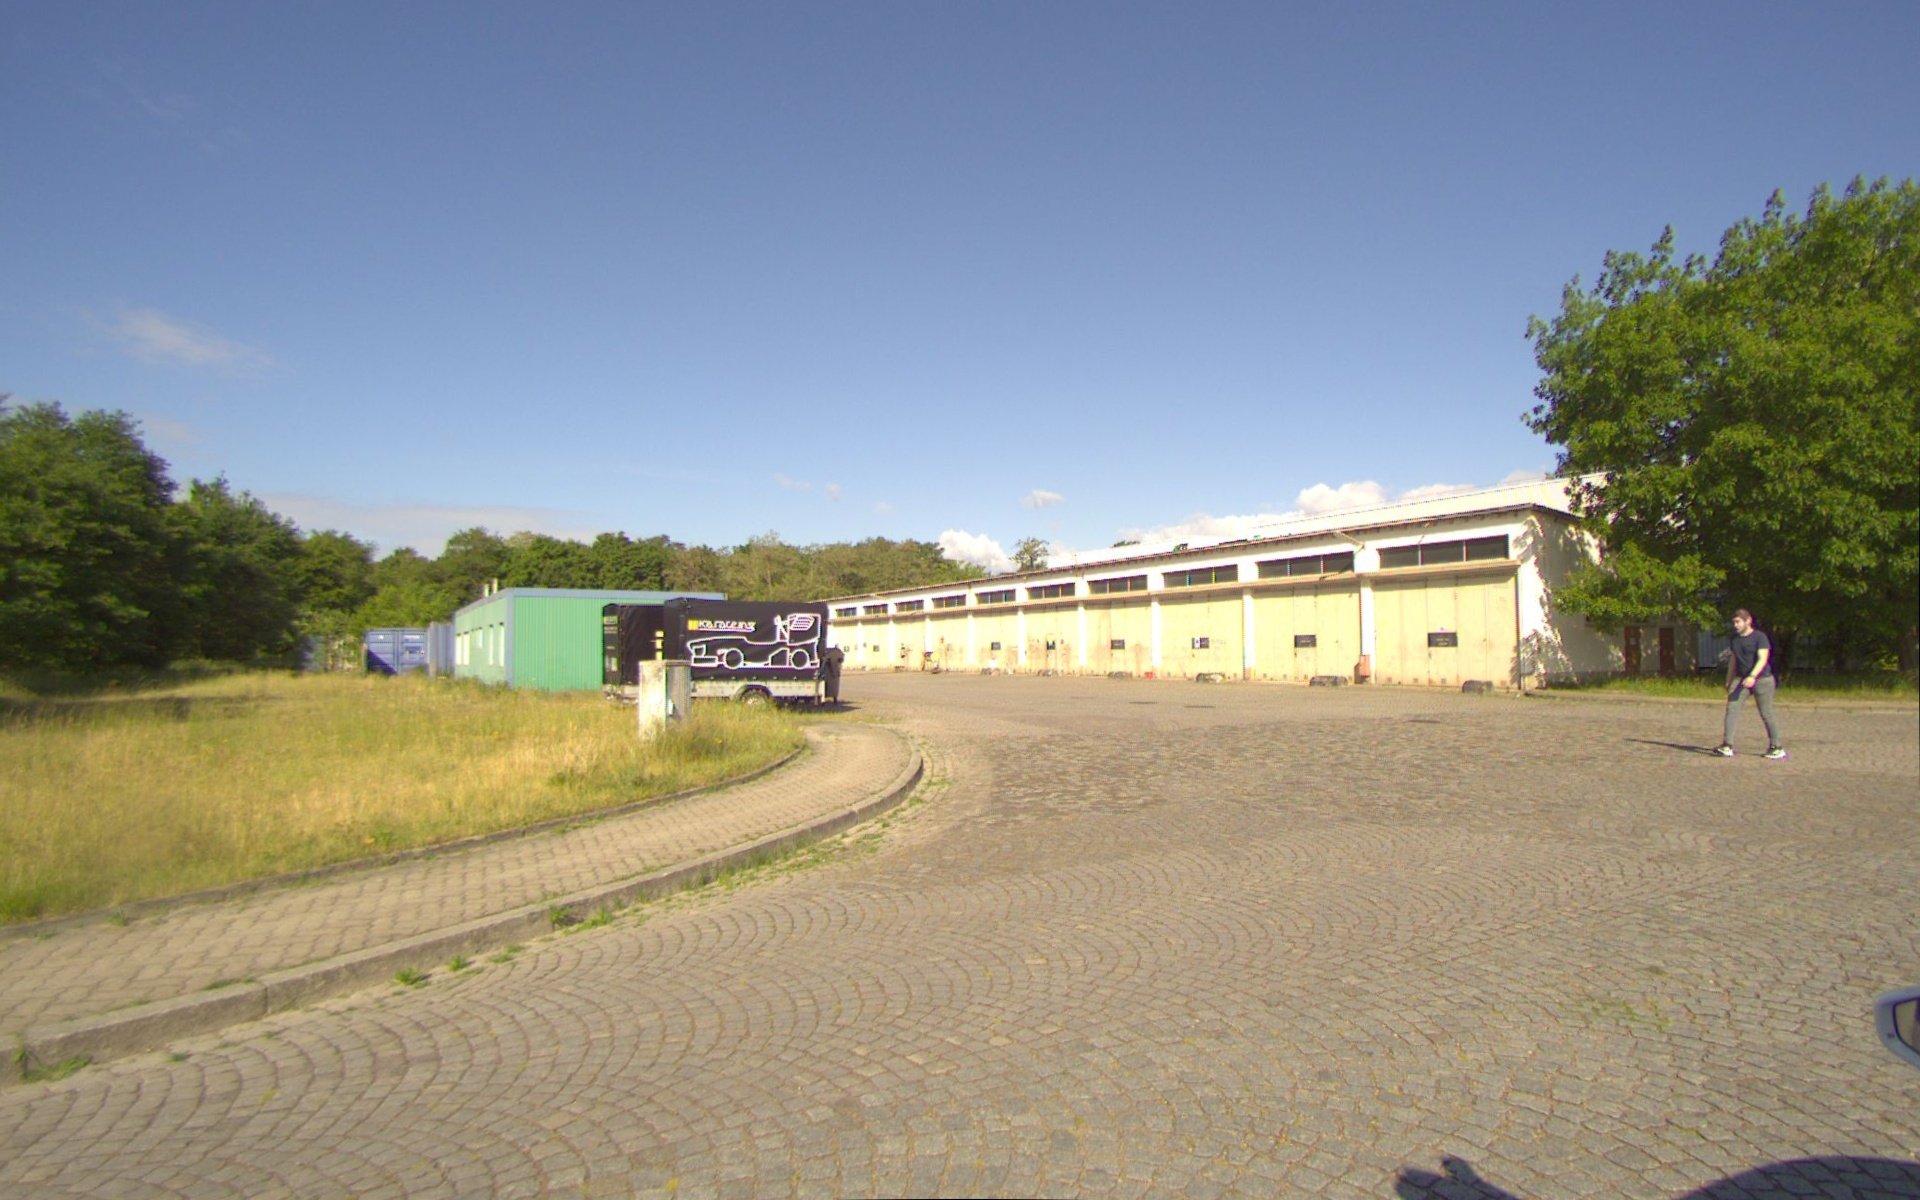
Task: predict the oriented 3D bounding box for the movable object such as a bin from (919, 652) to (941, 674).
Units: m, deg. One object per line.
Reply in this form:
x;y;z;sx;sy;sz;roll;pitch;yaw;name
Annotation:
-1.840;3.834;61.249;0.817;1.349;1.269;2;-3;-33;movable object such as a bin

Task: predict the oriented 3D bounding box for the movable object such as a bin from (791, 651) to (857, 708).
-3.417;1.980;25.334;1.337;1.403;1.048;-1;-3;18;movable object such as a bin

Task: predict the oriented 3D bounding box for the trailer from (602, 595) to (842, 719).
-4.871;1.200;20.669;4.415;2.302;1.999;3;-4;-29;trailer

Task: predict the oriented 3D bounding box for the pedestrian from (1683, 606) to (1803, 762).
10.247;1.075;13.158;1.128;1.939;0.794;1;-3;-28;pedestrian

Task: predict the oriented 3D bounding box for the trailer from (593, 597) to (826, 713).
-5.669;1.290;23.028;4.807;2.422;1.925;3;-4;-35;trailer
